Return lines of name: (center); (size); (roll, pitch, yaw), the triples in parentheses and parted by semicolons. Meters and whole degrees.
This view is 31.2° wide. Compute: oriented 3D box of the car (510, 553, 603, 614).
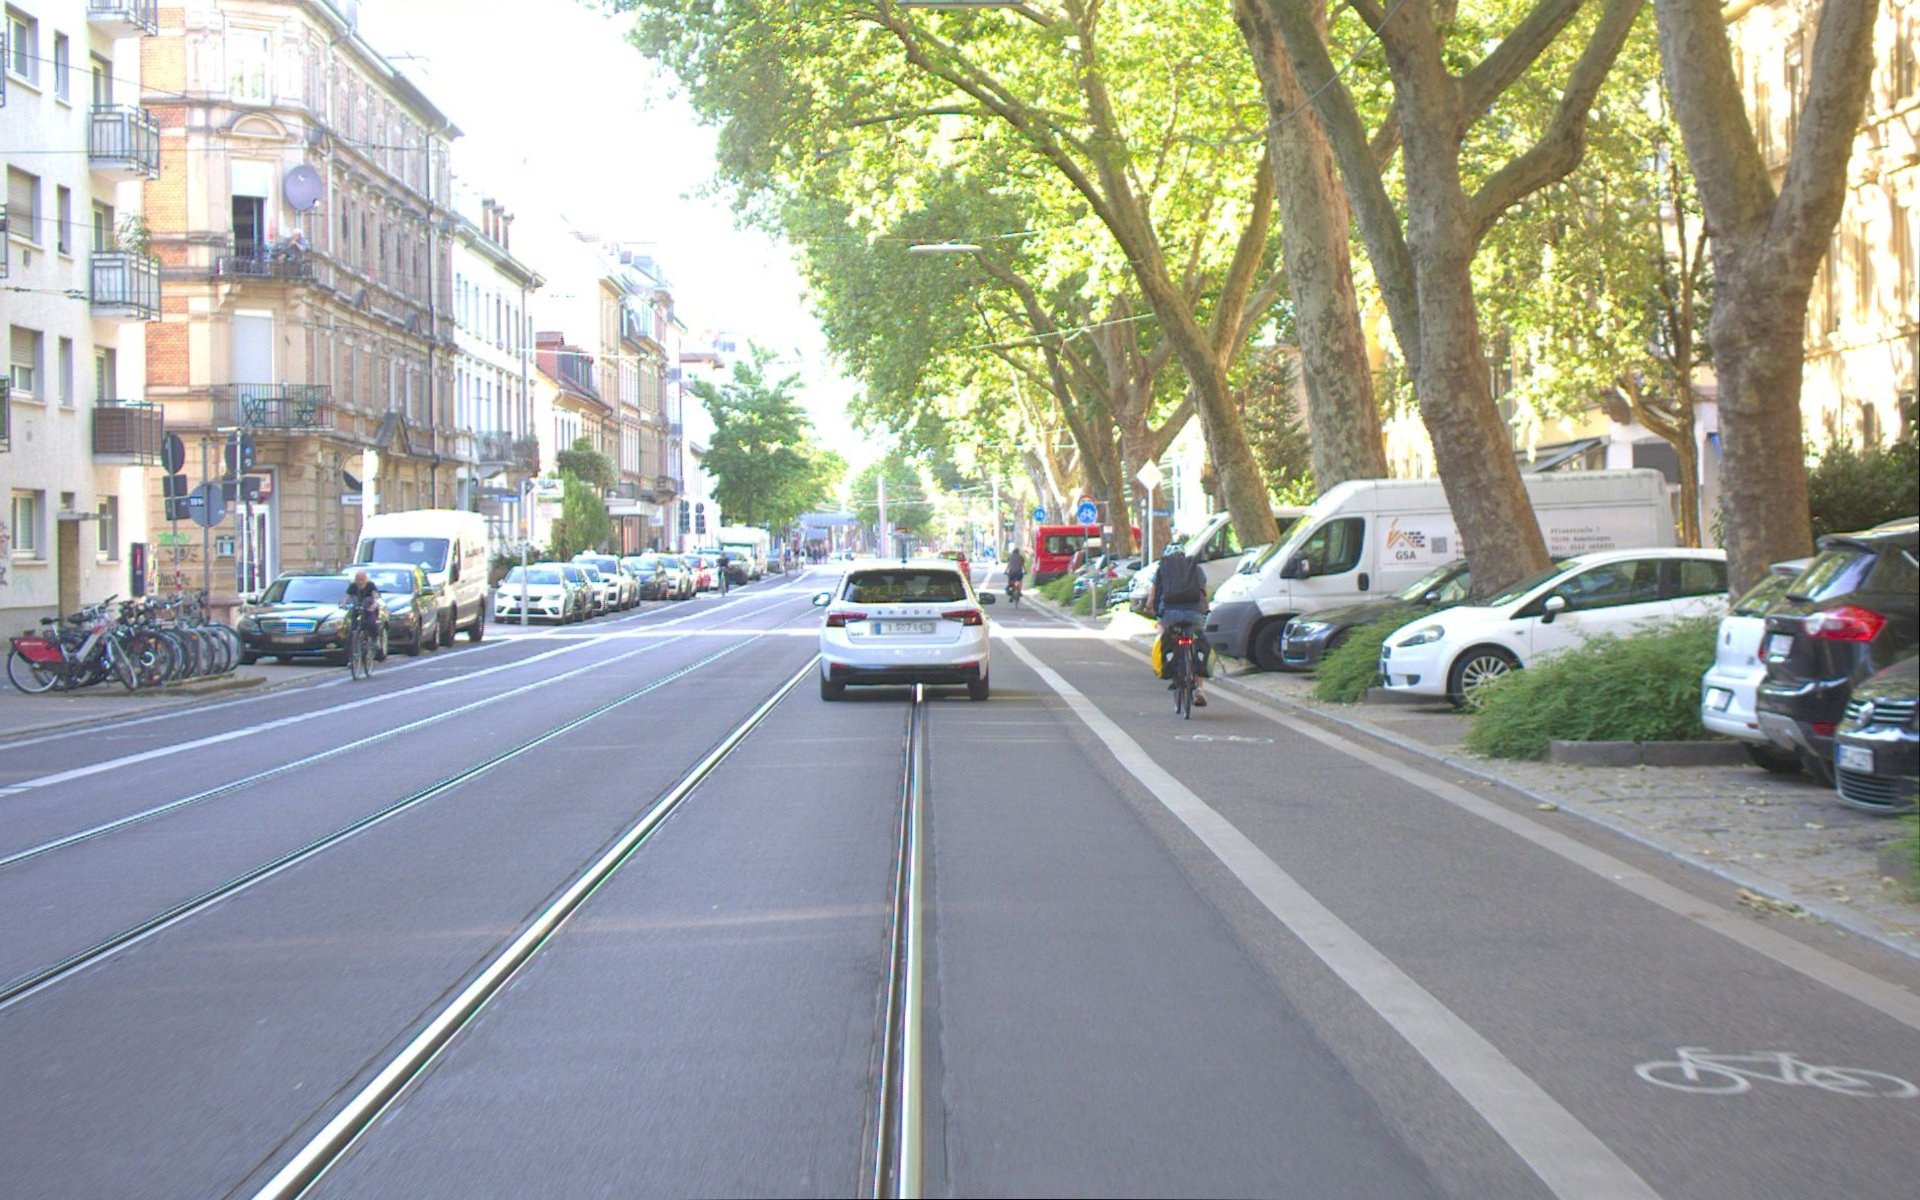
car: (-10.583, -0.454, 90.428); (1.993, 1.525, 4.000); (-1, 1, -1)

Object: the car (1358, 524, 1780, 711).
car: (5.625, 0.146, 32.088); (3.634, 1.661, 1.822); (-1, 1, 2)

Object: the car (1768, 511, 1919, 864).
car: (6.388, 0.372, 17.173); (4.234, 1.661, 1.848); (-1, 1, -1)

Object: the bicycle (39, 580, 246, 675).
bicycle: (-10.655, 0.359, 44.875); (2.524, 1.168, 0.719); (1, -1, -5)

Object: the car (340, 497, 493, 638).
car: (-10.357, -0.638, 65.866); (2.178, 2.588, 4.949); (-1, 1, -1)

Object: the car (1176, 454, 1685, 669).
car: (5.980, -0.503, 44.336); (6.130, 2.626, 2.529); (-1, 1, -2)

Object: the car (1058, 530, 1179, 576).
car: (5.449, -1.621, 118.484); (4.049, 1.535, 2.000); (-1, 1, -1)

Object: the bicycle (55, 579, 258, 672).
bicycle: (-10.669, 0.345, 45.725); (2.524, 1.168, 0.719); (1, -1, -5)

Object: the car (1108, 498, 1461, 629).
car: (5.880, -0.672, 62.956); (6.130, 2.274, 2.529); (-1, 1, -2)

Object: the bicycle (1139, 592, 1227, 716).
bicycle: (2.044, 0.483, 31.693); (0.681, 1.067, 1.781); (-1, 1, 0)

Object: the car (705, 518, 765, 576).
car: (-12.342, -2.892, 188.743); (2.968, 3.145, 5.847); (0, 0, -1)

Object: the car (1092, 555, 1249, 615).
car: (5.615, -0.411, 92.040); (4.049, 1.535, 2.000); (-1, 1, -1)

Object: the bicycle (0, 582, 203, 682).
bicycle: (-10.644, 0.401, 42.119); (2.525, 1.168, 0.883); (2, -1, -40)

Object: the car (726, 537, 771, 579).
car: (-10.423, -2.072, 169.777); (1.993, 2.007, 4.000); (-1, 1, -1)

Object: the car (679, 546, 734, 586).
car: (-10.506, -1.404, 142.674); (1.993, 1.634, 4.000); (0, 0, -1)

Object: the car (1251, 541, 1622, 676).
car: (5.712, 0.080, 41.502); (4.048, 1.535, 2.000); (-1, 1, -6)

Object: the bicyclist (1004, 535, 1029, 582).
bicyclist: (1.650, -1.209, 99.868); (0.649, 1.339, 0.934); (-1, 1, -2)

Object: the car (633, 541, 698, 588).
car: (-10.441, -1.244, 122.197); (1.993, 1.634, 4.000); (0, 0, -1)

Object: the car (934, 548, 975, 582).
car: (-0.247, -1.581, 154.172); (1.761, 1.470, 4.000); (-1, 1, 0)

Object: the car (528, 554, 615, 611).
car: (-10.757, -0.494, 95.354); (1.993, 1.525, 4.000); (-1, 1, -1)

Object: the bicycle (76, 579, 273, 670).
bicycle: (-10.676, 0.336, 46.779); (2.524, 1.168, 0.719); (1, -1, -6)

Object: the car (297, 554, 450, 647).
car: (-10.180, -0.015, 59.931); (1.993, 1.525, 4.000); (-1, 1, -1)

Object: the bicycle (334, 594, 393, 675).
bicycle: (-8.281, 0.471, 47.798); (0.605, 1.067, 1.583); (-1, 1, -3)

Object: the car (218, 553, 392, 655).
car: (-10.268, 0.036, 54.149); (1.993, 1.525, 4.000); (-1, 1, -1)

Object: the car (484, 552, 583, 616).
car: (-10.671, -0.422, 86.200); (1.993, 1.525, 4.000); (-1, 1, -1)

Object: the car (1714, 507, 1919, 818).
car: (6.471, 0.302, 19.479); (3.986, 1.674, 1.724); (-1, 1, -1)

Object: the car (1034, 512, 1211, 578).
car: (5.793, -1.967, 123.186); (6.130, 2.274, 2.529); (-1, 1, -2)

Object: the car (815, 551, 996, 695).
car: (-0.548, 0.200, 35.855); (1.761, 1.379, 4.000); (-1, 1, 0)

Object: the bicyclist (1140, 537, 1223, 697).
bicyclist: (2.034, 0.147, 31.631); (0.678, 1.438, 1.047); (-1, 1, 0)

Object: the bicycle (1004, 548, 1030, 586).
bicycle: (1.654, -0.970, 99.986); (0.649, 1.067, 1.583); (-1, 1, -2)

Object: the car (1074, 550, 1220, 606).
car: (5.353, -0.644, 98.980); (4.049, 1.535, 2.000); (-1, 1, -1)

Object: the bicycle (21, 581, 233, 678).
bicycle: (-10.618, 0.377, 43.888); (2.524, 1.168, 0.719); (1, -1, -5)

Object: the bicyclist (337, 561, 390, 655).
bicyclist: (-8.292, 0.110, 47.797); (0.597, 1.282, 0.917); (-1, 1, -3)

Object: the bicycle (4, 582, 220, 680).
bicycle: (-10.592, 0.391, 43.001); (2.524, 1.168, 0.719); (1, -1, -7)

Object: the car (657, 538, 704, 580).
car: (-13.599, -2.016, 167.291); (1.993, 2.007, 4.000); (-1, 1, -1)

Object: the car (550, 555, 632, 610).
car: (-10.732, -0.531, 100.163); (1.993, 1.525, 4.000); (-1, 1, -1)
